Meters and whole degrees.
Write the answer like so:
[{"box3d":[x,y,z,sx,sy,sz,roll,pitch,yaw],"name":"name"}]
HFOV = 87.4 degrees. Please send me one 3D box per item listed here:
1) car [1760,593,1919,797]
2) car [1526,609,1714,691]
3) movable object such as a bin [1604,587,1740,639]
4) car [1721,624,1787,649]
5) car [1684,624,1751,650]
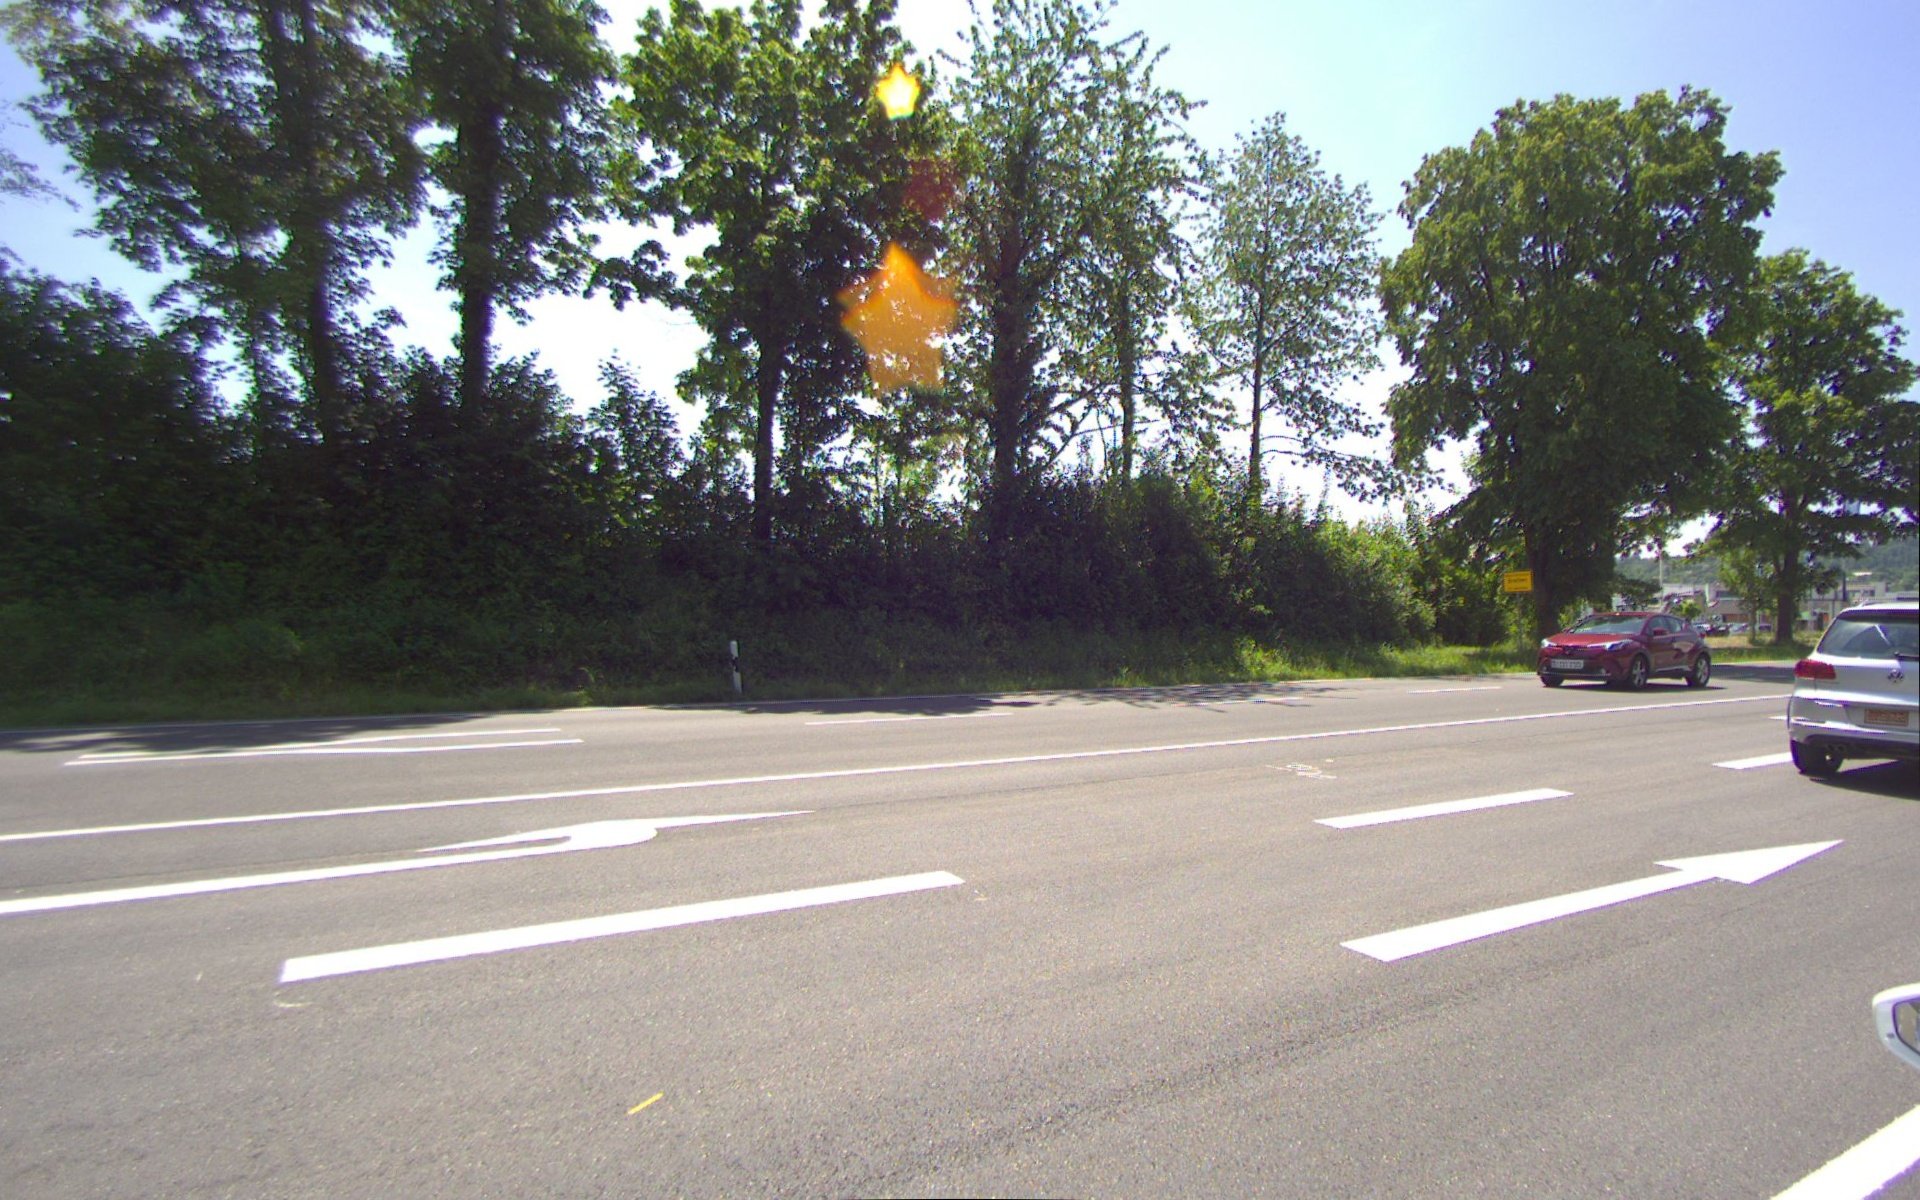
[{"box3d":[9.770,0.829,9.689,4.241,1.692,1.796,1,1,-30],"name":"car"},{"box3d":[13.634,0.985,20.716,3.723,1.529,1.893,1,0,-32],"name":"car"},{"box3d":[46.972,0.841,66.487,6.654,3.342,3.054,0,0,10],"name":"movable object such as a bin"},{"box3d":[55.576,2.532,70.390,1.803,1.639,4.002,1,0,7],"name":"car"},{"box3d":[53.306,2.581,70.775,1.959,1.673,4.002,1,0,7],"name":"car"}]
